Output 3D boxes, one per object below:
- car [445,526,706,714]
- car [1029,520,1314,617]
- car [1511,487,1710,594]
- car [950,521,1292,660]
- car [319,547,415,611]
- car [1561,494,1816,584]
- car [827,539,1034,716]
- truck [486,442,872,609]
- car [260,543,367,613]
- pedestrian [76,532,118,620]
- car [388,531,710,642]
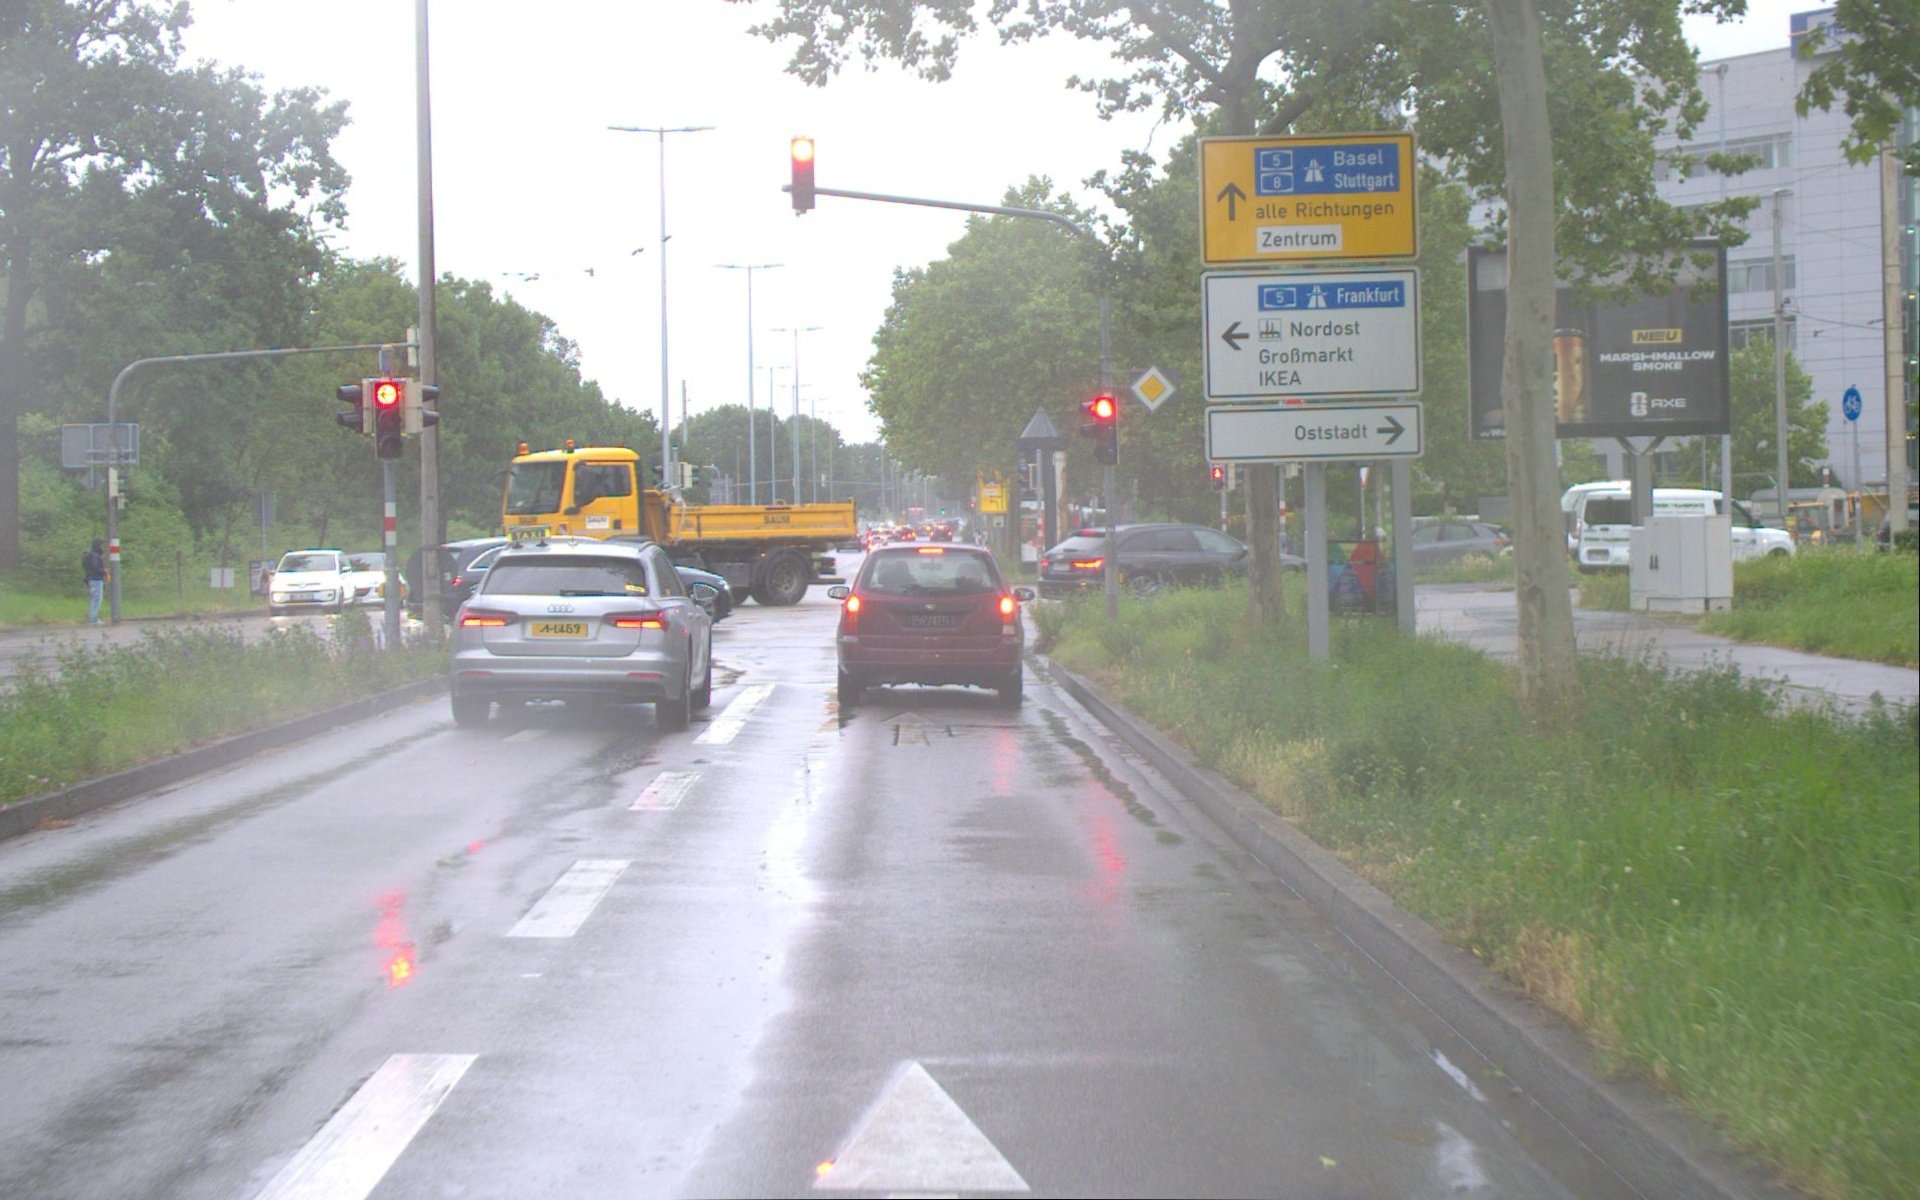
[{"bbox_3d":[-3.085,0.120,28.387,1.690,1.428,4.574,0,1,-1],"label":"car"},{"bbox_3d":[3.472,-0.535,56.144,4.372,1.532,1.802,-1,1,-29],"label":"car"},{"bbox_3d":[14.774,-1.354,77.996,4.374,2.183,1.802,-4,2,-35],"label":"car"},{"bbox_3d":[2.144,-0.164,45.023,4.375,1.531,1.801,-4,4,-40],"label":"car"},{"bbox_3d":[-14.755,-0.549,85.686,1.712,1.525,4.000,-1,1,-1],"label":"car"},{"bbox_3d":[13.168,-1.110,62.100,4.372,1.532,1.802,-2,1,-29],"label":"car"},{"bbox_3d":[-0.281,0.209,32.383,1.796,1.532,4.387,1,1,-1],"label":"car"},{"bbox_3d":[-5.347,-1.446,66.081,7.027,3.044,2.646,-2,1,-37],"label":"truck"},{"bbox_3d":[-14.853,-0.521,79.146,1.712,1.525,4.000,-1,1,-1],"label":"car"},{"bbox_3d":[-17.568,-0.483,69.985,0.533,1.779,0.673,1,0,17],"label":"pedestrian"},{"bbox_3d":[-6.088,-0.220,51.074,4.372,1.532,1.802,-2,1,-29],"label":"car"}]
